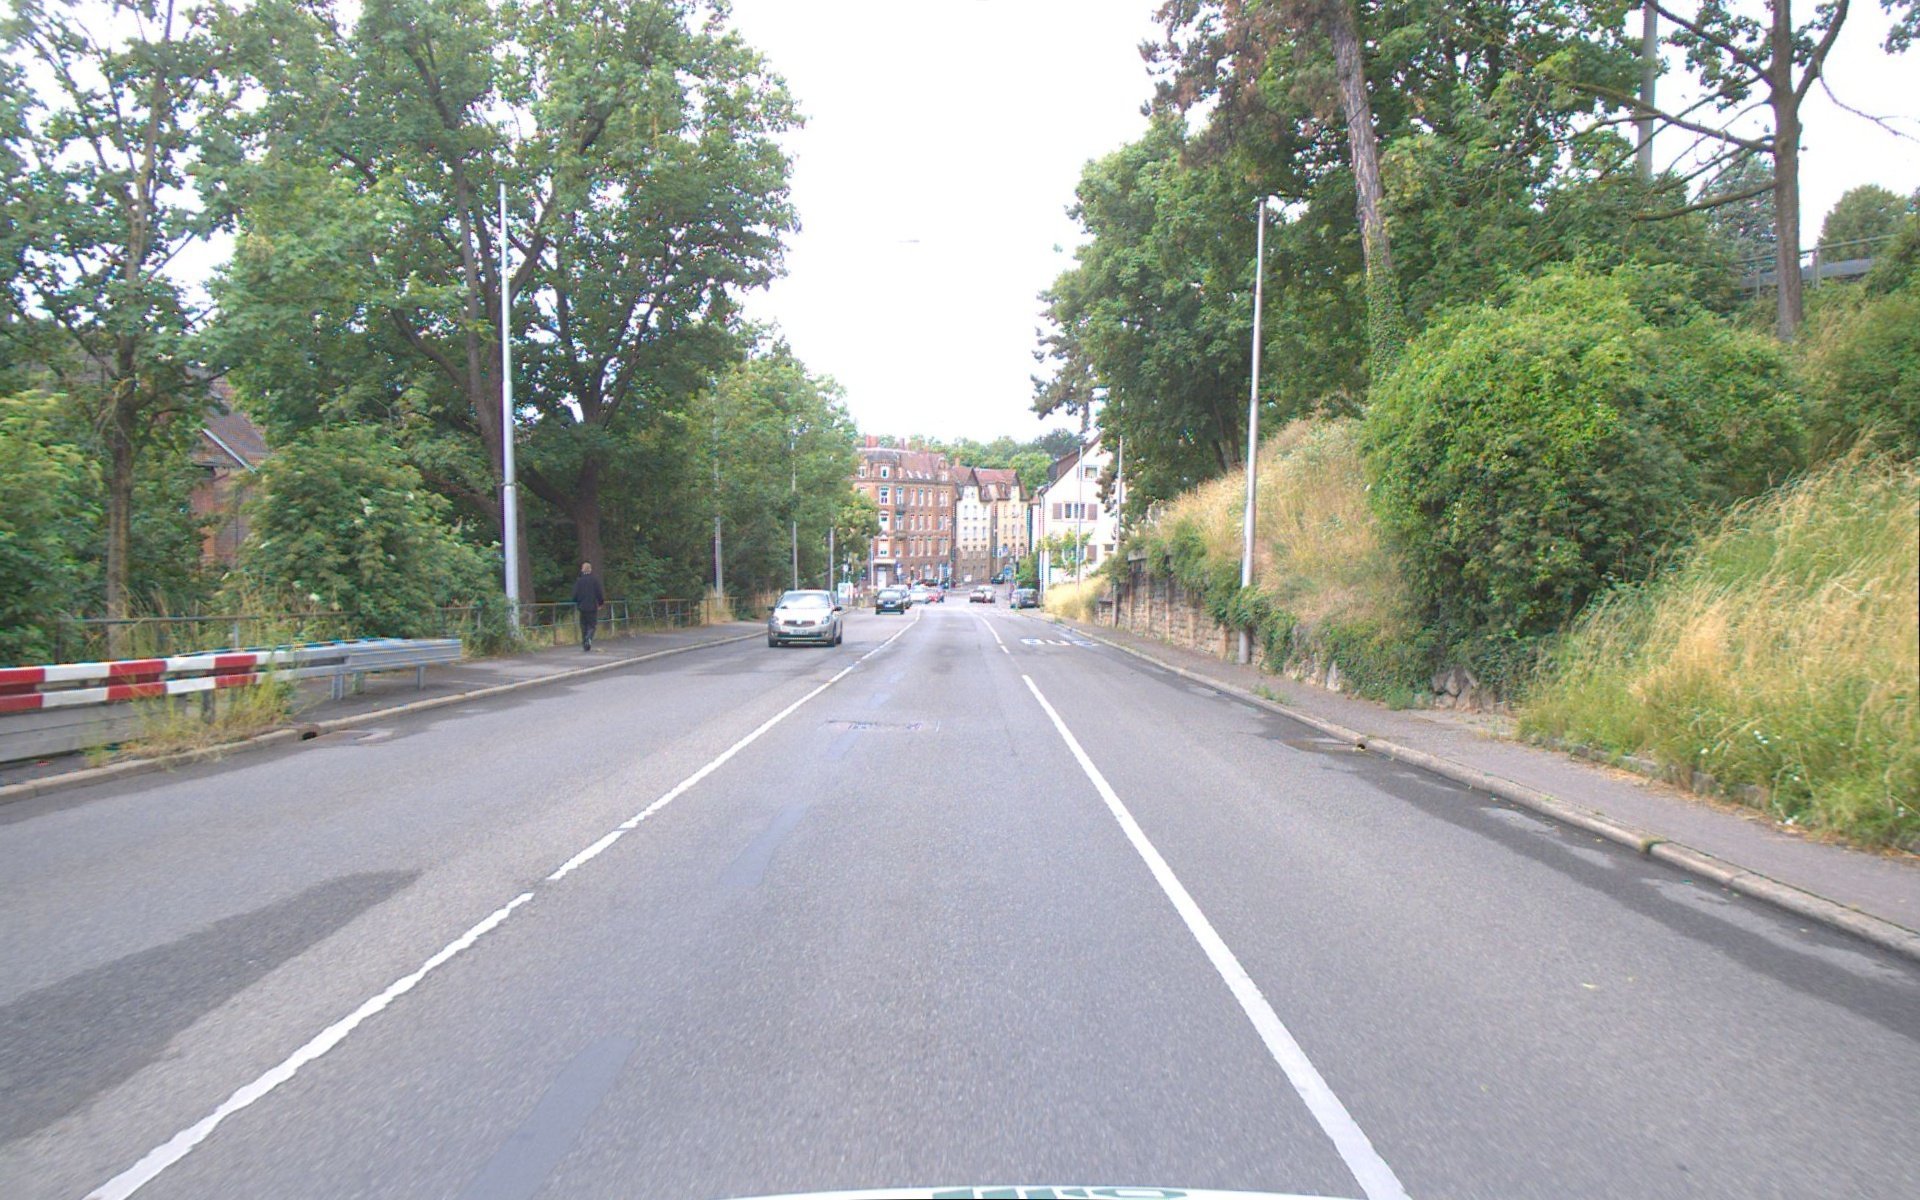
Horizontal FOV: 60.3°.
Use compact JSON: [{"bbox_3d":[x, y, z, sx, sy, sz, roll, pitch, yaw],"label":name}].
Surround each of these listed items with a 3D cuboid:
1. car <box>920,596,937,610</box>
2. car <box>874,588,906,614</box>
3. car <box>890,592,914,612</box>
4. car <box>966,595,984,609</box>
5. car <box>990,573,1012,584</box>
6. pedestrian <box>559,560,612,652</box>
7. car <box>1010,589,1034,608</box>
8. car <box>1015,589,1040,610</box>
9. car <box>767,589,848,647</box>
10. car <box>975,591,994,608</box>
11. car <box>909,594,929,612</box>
[{"bbox_3d":[-3.247,0.311,170.908,1.747,1.485,4.428,-1,0,-1],"label":"car"},{"bbox_3d":[-4.026,0.044,95.286,1.634,1.472,3.688,-1,0,0],"label":"car"},{"bbox_3d":[-4.149,0.143,118.824,1.678,1.452,4.138,0,0,-1],"label":"car"},{"bbox_3d":[1.733,0.195,186.468,1.778,1.455,4.002,2,0,4],"label":"car"},{"bbox_3d":[6.294,-3.330,255.810,1.941,1.602,4.374,-1,0,22],"label":"car"},{"bbox_3d":[-7.699,0.119,34.044,0.773,1.805,1.208,3,0,-3],"label":"pedestrian"},{"bbox_3d":[5.066,-0.137,134.980,1.757,1.476,4.720,-3,1,3],"label":"car"},{"bbox_3d":[5.126,-0.012,126.109,1.647,1.476,4.000,-3,-1,0],"label":"car"},{"bbox_3d":[-4.026,0.455,44.122,1.757,1.452,4.143,0,0,0],"label":"car"},{"bbox_3d":[2.898,-0.055,193.035,1.869,1.917,4.002,2,0,4],"label":"car"},{"bbox_3d":[-3.751,0.298,152.476,1.747,1.602,4.280,-1,0,-1],"label":"car"}]
